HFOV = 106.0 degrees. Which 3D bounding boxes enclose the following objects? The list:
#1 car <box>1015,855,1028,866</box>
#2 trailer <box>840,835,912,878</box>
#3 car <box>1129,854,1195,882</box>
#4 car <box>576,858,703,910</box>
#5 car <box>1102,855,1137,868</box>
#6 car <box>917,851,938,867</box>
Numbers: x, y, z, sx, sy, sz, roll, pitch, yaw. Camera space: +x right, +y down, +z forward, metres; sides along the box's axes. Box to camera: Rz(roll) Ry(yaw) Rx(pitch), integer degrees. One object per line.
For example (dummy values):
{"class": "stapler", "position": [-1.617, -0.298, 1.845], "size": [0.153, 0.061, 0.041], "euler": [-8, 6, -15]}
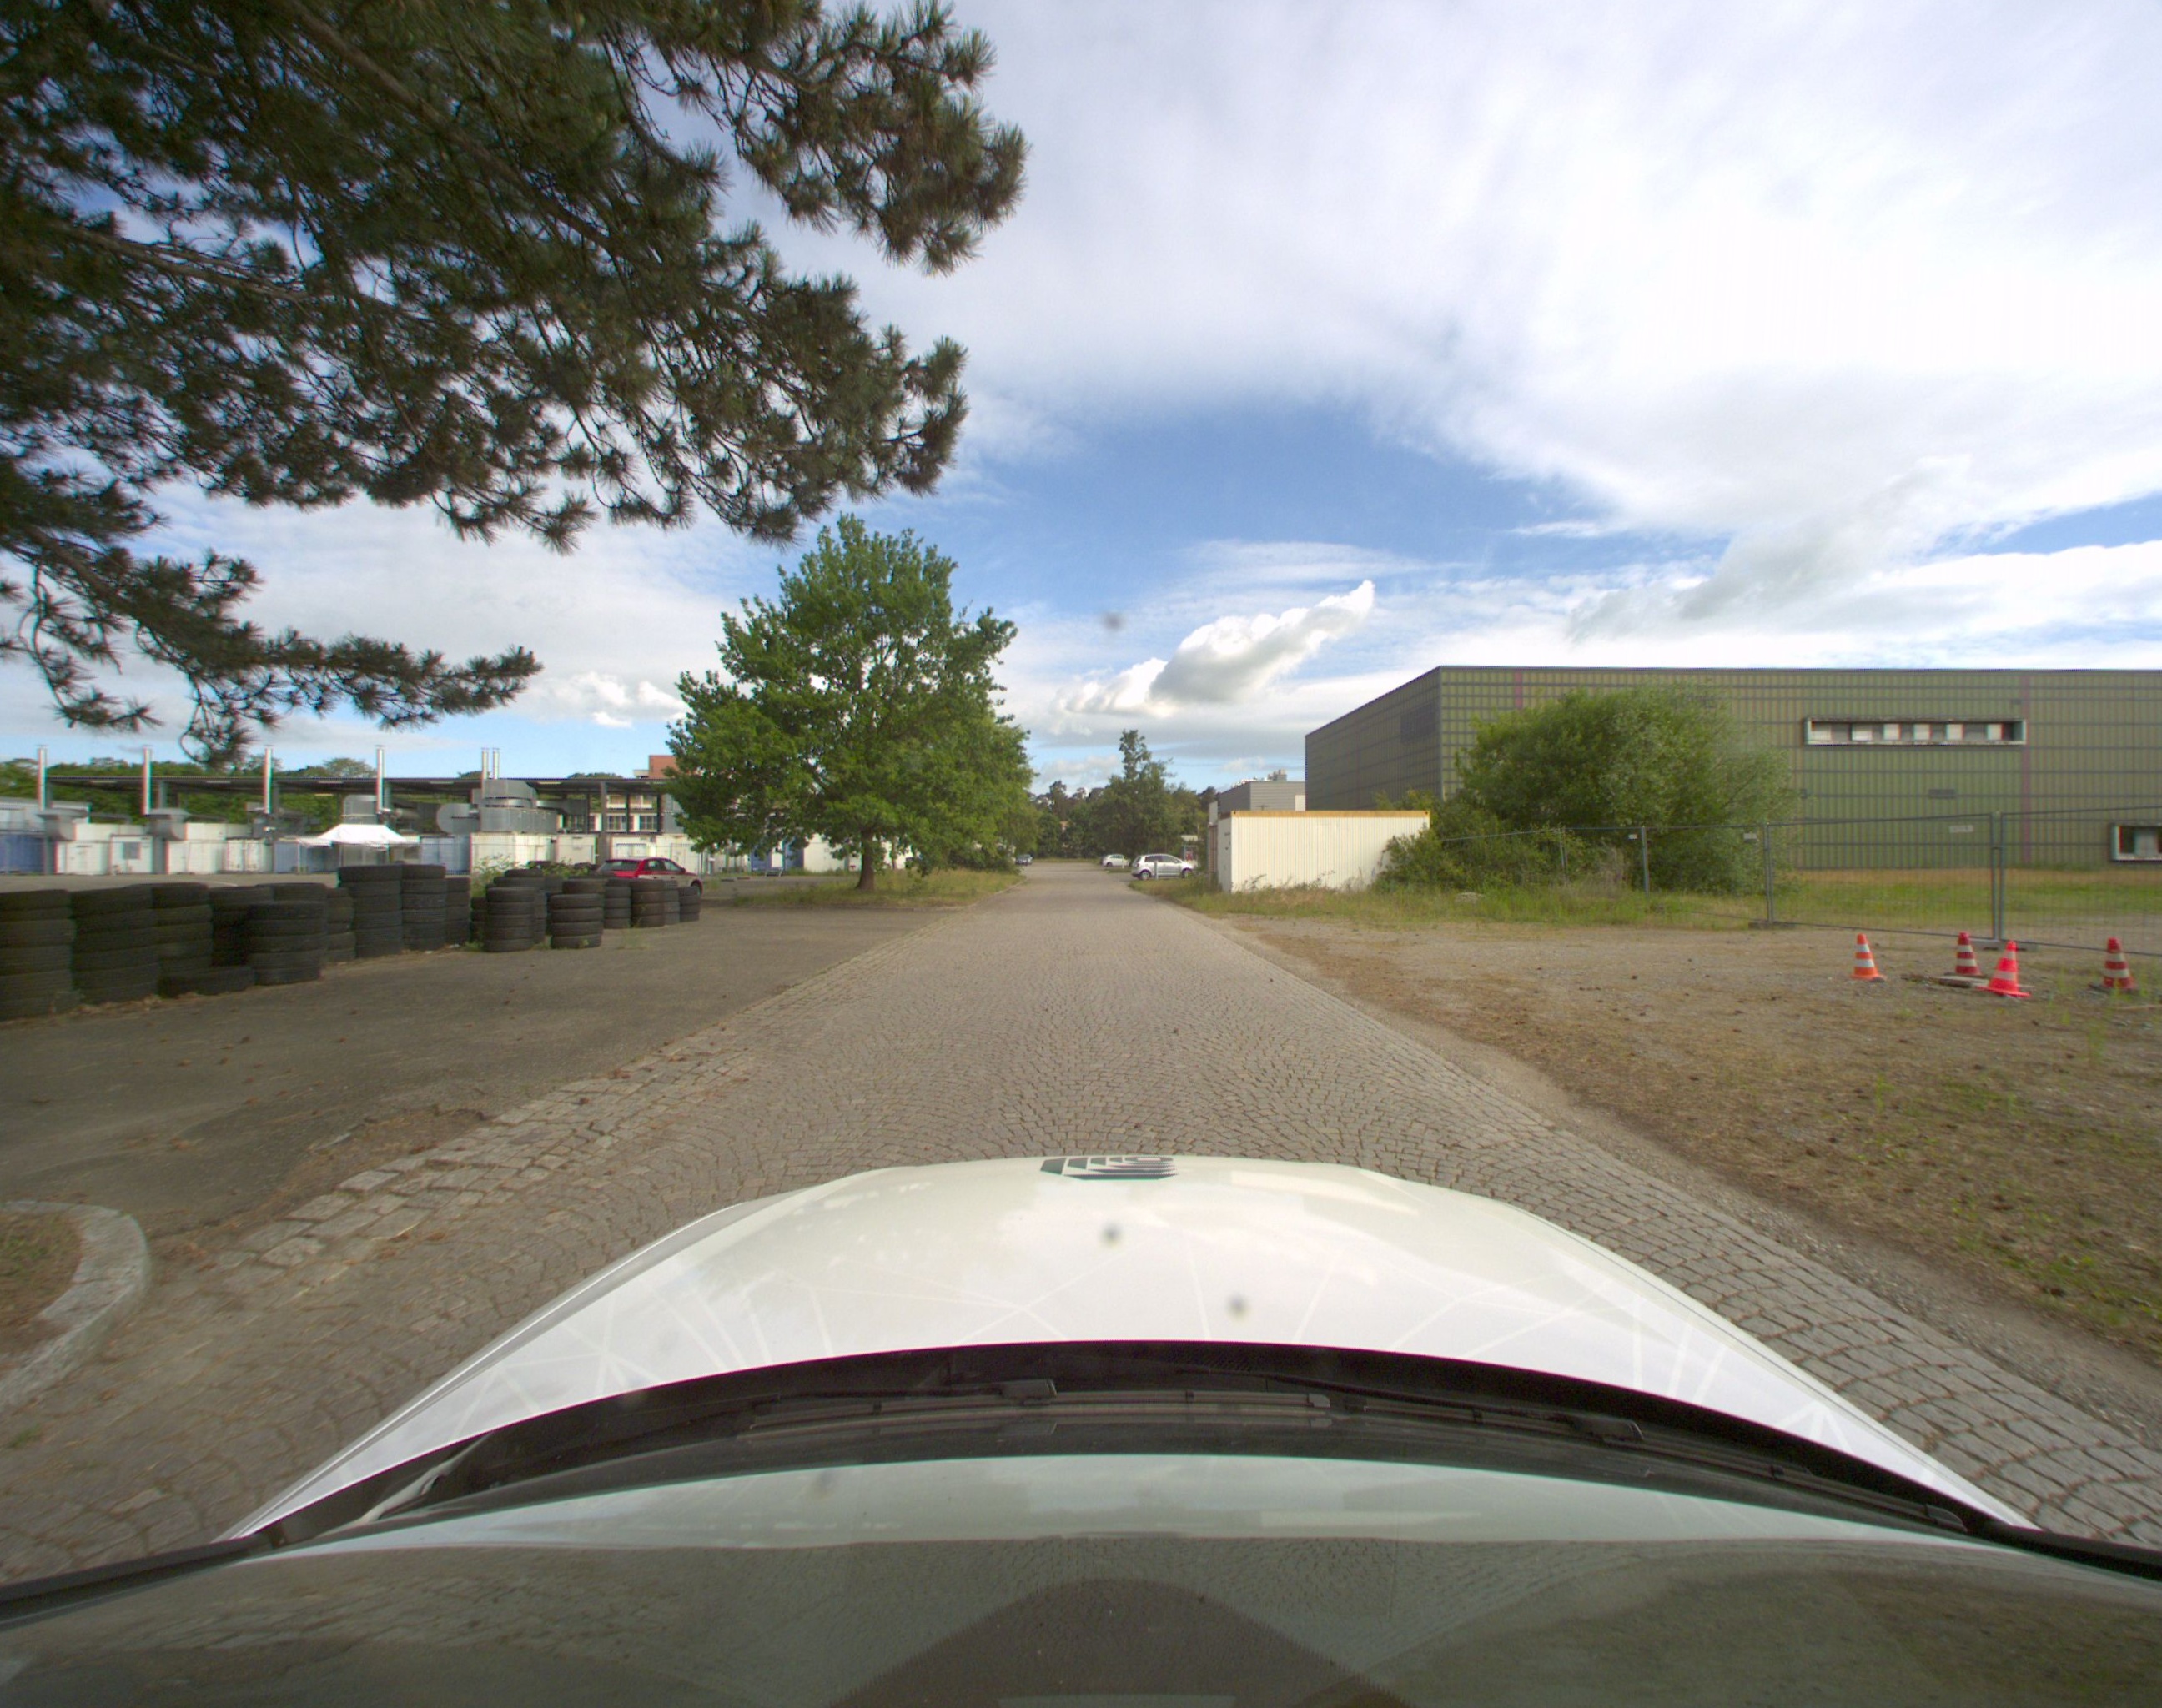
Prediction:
{"class": "car", "position": [-8.407, 0.888, 114.965], "size": [1.731, 1.469, 4.041], "euler": [0, 0, -3]}
{"class": "trailer", "position": [-15.473, 0.151, 62.258], "size": [3.147, 3.067, 8.785], "euler": [0, 0, 1]}
{"class": "car", "position": [4.973, 0.845, 50.114], "size": [3.842, 1.654, 1.684], "euler": [0, 0, -4]}
{"class": "car", "position": [-13.343, 0.858, 24.856], "size": [1.758, 1.453, 3.493], "euler": [0, 0, 5]}
{"class": "car", "position": [4.560, 0.837, 96.249], "size": [4.012, 1.502, 1.548], "euler": [0, 0, -1]}
{"class": "car", "position": [-19.306, 0.605, 102.671], "size": [1.921, 2.047, 4.595], "euler": [0, 0, -3]}
